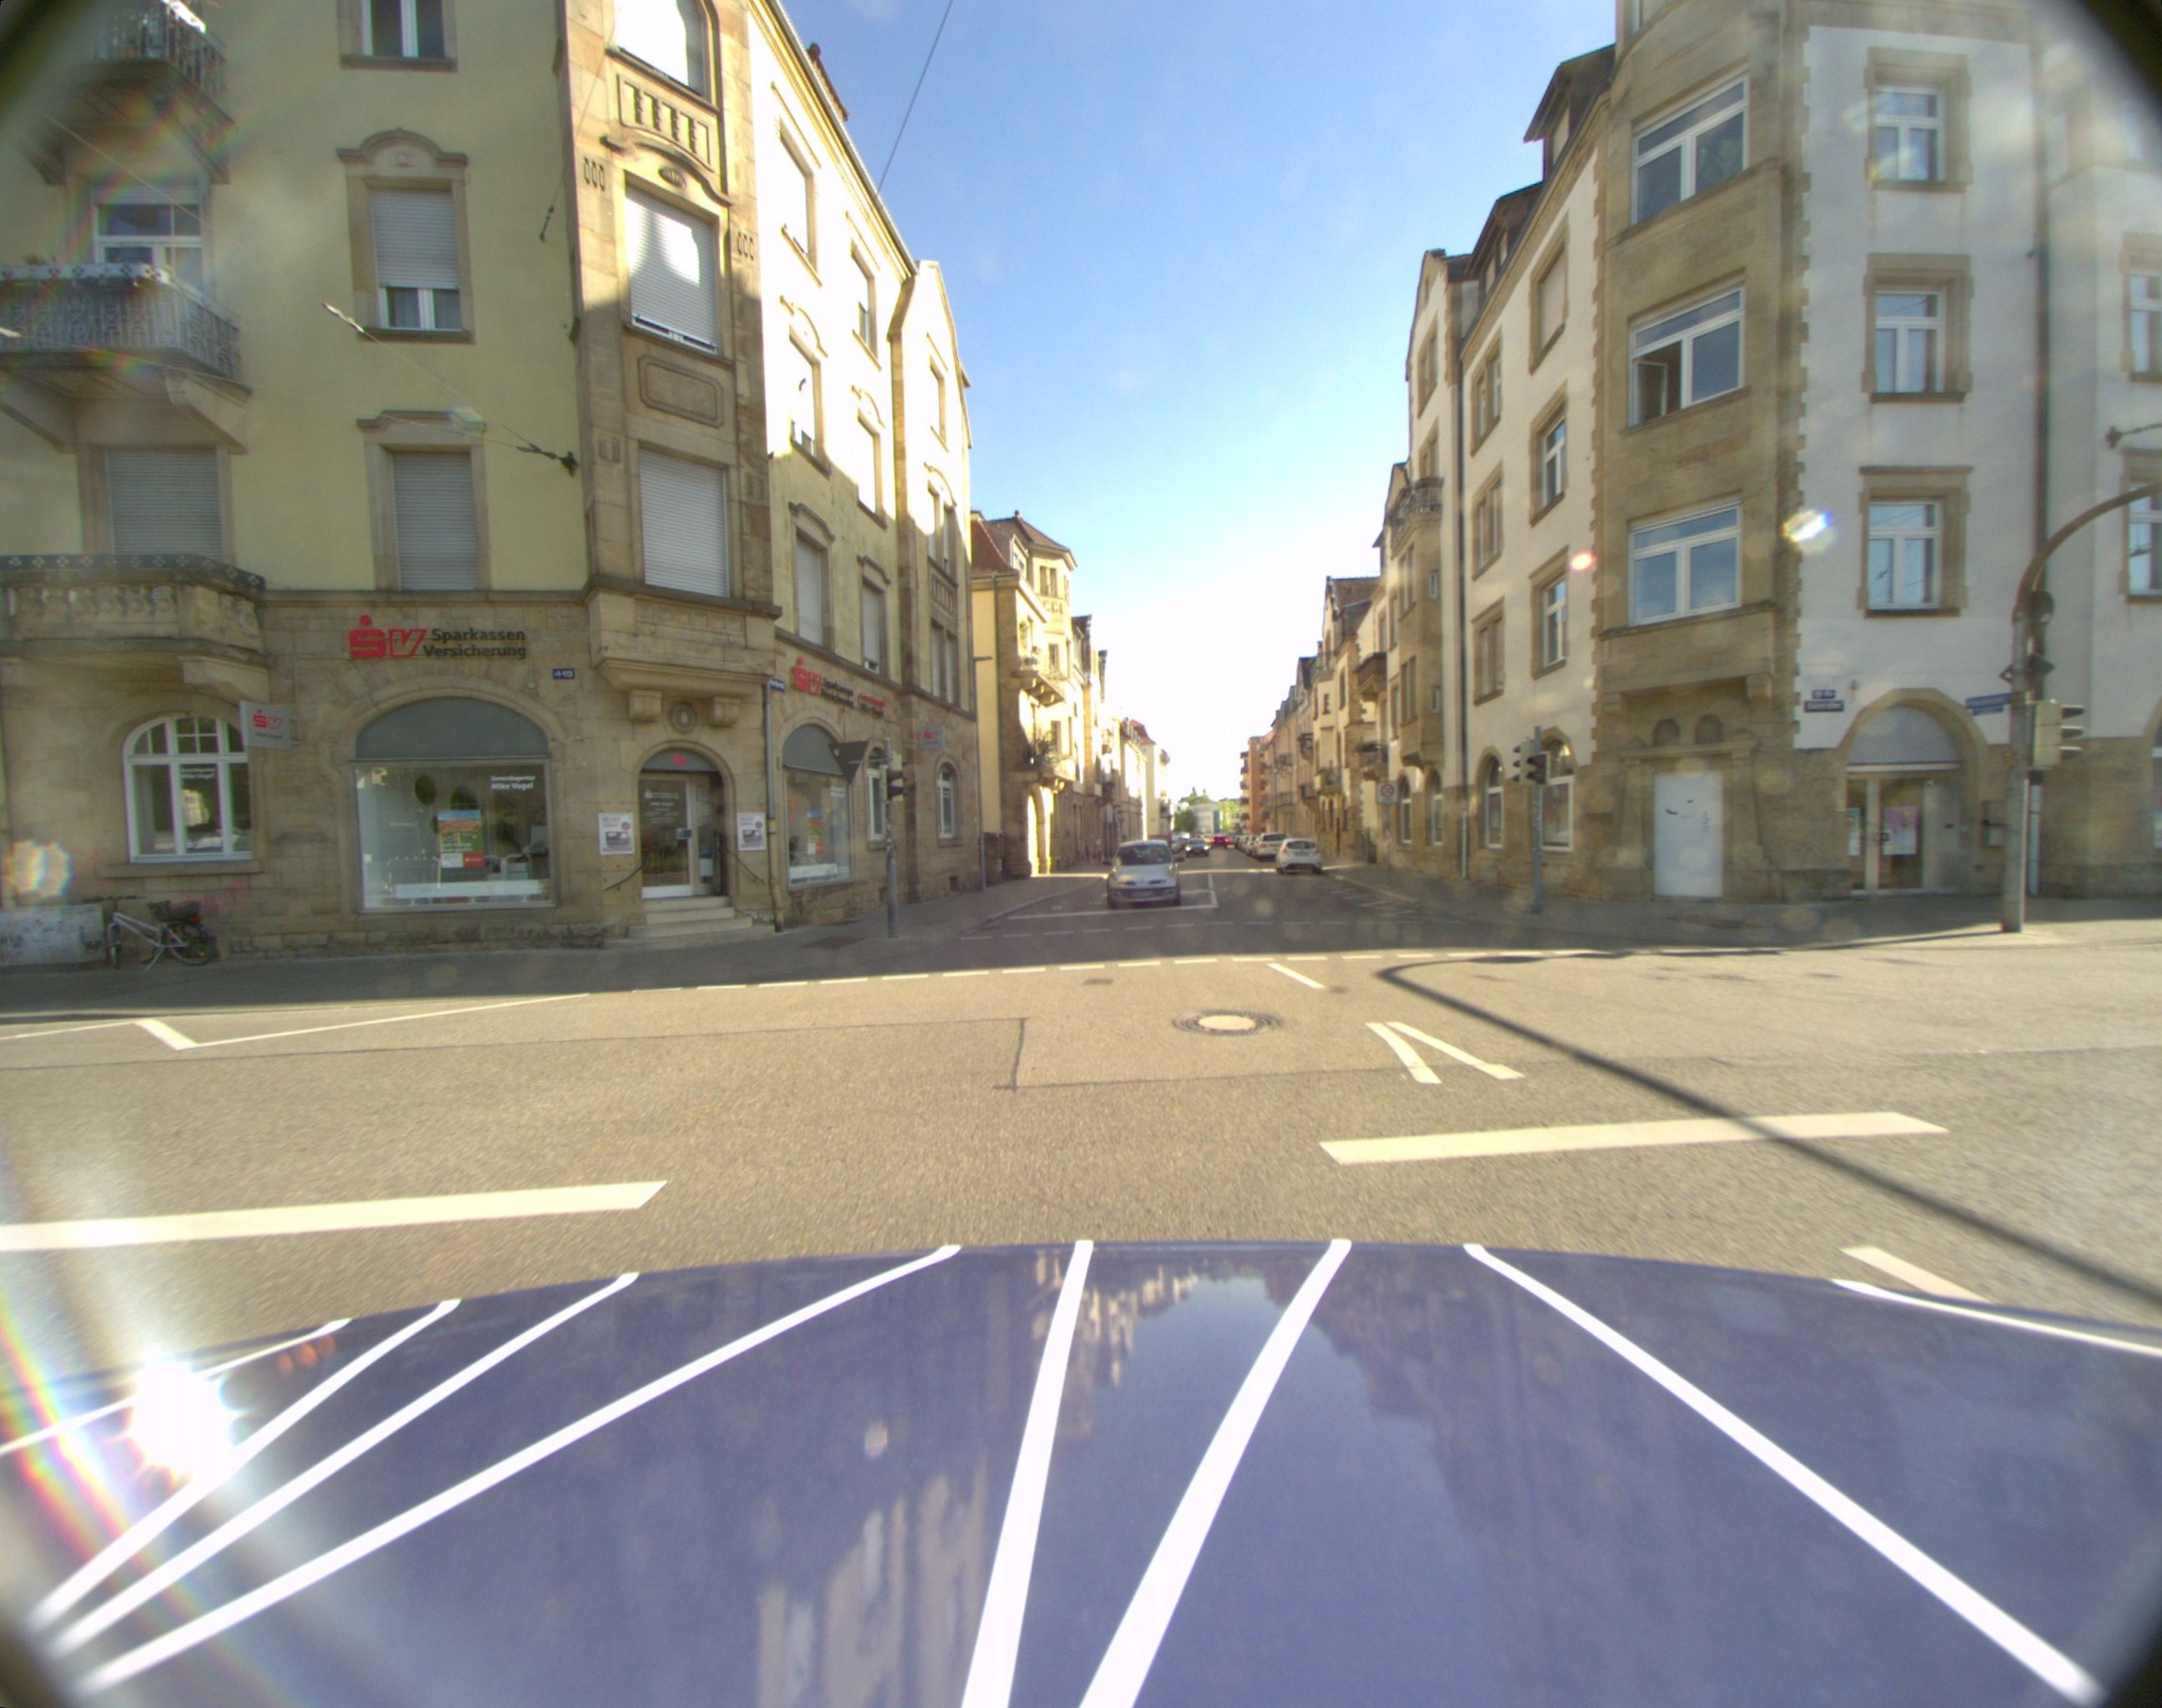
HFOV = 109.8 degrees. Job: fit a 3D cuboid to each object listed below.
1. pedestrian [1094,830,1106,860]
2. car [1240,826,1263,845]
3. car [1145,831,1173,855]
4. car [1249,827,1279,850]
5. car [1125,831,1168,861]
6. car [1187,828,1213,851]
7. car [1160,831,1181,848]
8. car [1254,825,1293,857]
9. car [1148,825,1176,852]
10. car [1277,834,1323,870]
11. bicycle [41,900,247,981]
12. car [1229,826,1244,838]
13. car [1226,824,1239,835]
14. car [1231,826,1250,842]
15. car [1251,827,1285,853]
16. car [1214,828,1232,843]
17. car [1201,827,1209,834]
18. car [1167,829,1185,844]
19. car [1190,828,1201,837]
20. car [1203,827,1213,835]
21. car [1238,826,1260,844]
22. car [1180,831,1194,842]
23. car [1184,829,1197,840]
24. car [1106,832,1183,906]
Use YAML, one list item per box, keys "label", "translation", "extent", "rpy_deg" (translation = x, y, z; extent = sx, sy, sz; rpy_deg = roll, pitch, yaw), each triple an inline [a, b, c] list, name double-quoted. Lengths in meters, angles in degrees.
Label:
- label: "pedestrian"
  translation: [1.105, -0.549, 44.489]
  extent: [0.578, 1.712, 0.698]
  rpy_deg: [0, 3, 11]
- label: "car"
  translation: [16.026, -1.773, 71.537]
  extent: [1.916, 1.509, 4.348]
  rpy_deg: [-5, 2, 11]
- label: "car"
  translation: [5.953, -0.847, 57.471]
  extent: [1.832, 1.587, 3.821]
  rpy_deg: [-4, 1, 8]
- label: "car"
  translation: [13.908, -1.235, 57.915]
  extent: [1.916, 1.509, 4.348]
  rpy_deg: [-5, 2, 11]
- label: "car"
  translation: [3.884, -0.489, 44.290]
  extent: [1.997, 1.528, 4.002]
  rpy_deg: [-4, 1, 11]
- label: "car"
  translation: [9.699, -1.178, 61.634]
  extent: [1.876, 1.657, 4.002]
  rpy_deg: [-3, 2, 11]
- label: "car"
  translation: [8.816, -1.431, 74.390]
  extent: [1.832, 1.587, 3.821]
  rpy_deg: [-4, 1, 8]
- label: "car"
  translation: [11.679, -0.835, 46.271]
  extent: [1.916, 1.650, 4.348]
  rpy_deg: [-5, 2, 11]
- label: "car"
  translation: [6.621, -1.240, 61.885]
  extent: [1.832, 2.023, 3.821]
  rpy_deg: [-4, 1, 10]
- label: "car"
  translation: [9.029, -0.128, 31.579]
  extent: [1.555, 1.404, 3.573]
  rpy_deg: [1, 2, 12]
- label: "bicycle"
  translation: [-12.850, 1.177, 10.459]
  extent: [1.952, 0.970, 0.516]
  rpy_deg: [-2, 5, -3]
- label: "car"
  translation: [23.805, -3.410, 116.134]
  extent: [1.916, 1.615, 4.347]
  rpy_deg: [-5, 2, 9]
- label: "car"
  translation: [25.253, -4.024, 126.600]
  extent: [1.916, 1.615, 4.347]
  rpy_deg: [-5, 2, 9]
- label: "car"
  translation: [18.455, -2.329, 88.128]
  extent: [1.916, 1.615, 4.348]
  rpy_deg: [-5, 2, 11]
- label: "car"
  translation: [12.809, -0.994, 52.163]
  extent: [1.916, 1.509, 4.348]
  rpy_deg: [-5, 2, 11]
- label: "car"
  translation: [16.549, -2.152, 88.259]
  extent: [1.915, 1.718, 4.349]
  rpy_deg: [0, 2, 12]
- label: "car"
  translation: [32.215, -6.226, 198.008]
  extent: [1.876, 1.657, 4.002]
  rpy_deg: [-3, 2, 11]
- label: "car"
  translation: [10.828, -2.002, 86.575]
  extent: [1.832, 1.649, 3.821]
  rpy_deg: [-4, 1, 8]
- label: "car"
  translation: [22.515, -4.171, 148.769]
  extent: [1.876, 1.657, 4.002]
  rpy_deg: [-3, 2, 11]
- label: "car"
  translation: [27.216, -4.889, 162.555]
  extent: [1.876, 1.657, 4.002]
  rpy_deg: [-3, 2, 11]
- label: "car"
  translation: [17.198, -1.947, 77.860]
  extent: [1.916, 1.615, 4.348]
  rpy_deg: [-5, 2, 11]
- label: "car"
  translation: [16.729, -2.783, 119.505]
  extent: [1.876, 1.657, 4.002]
  rpy_deg: [-3, 2, 11]
- label: "car"
  translation: [18.080, -3.199, 125.628]
  extent: [1.876, 1.657, 4.002]
  rpy_deg: [-3, 2, 11]
- label: "car"
  translation: [1.545, 0.287, 18.452]
  extent: [1.651, 1.560, 3.616]
  rpy_deg: [-1, 2, 5]
